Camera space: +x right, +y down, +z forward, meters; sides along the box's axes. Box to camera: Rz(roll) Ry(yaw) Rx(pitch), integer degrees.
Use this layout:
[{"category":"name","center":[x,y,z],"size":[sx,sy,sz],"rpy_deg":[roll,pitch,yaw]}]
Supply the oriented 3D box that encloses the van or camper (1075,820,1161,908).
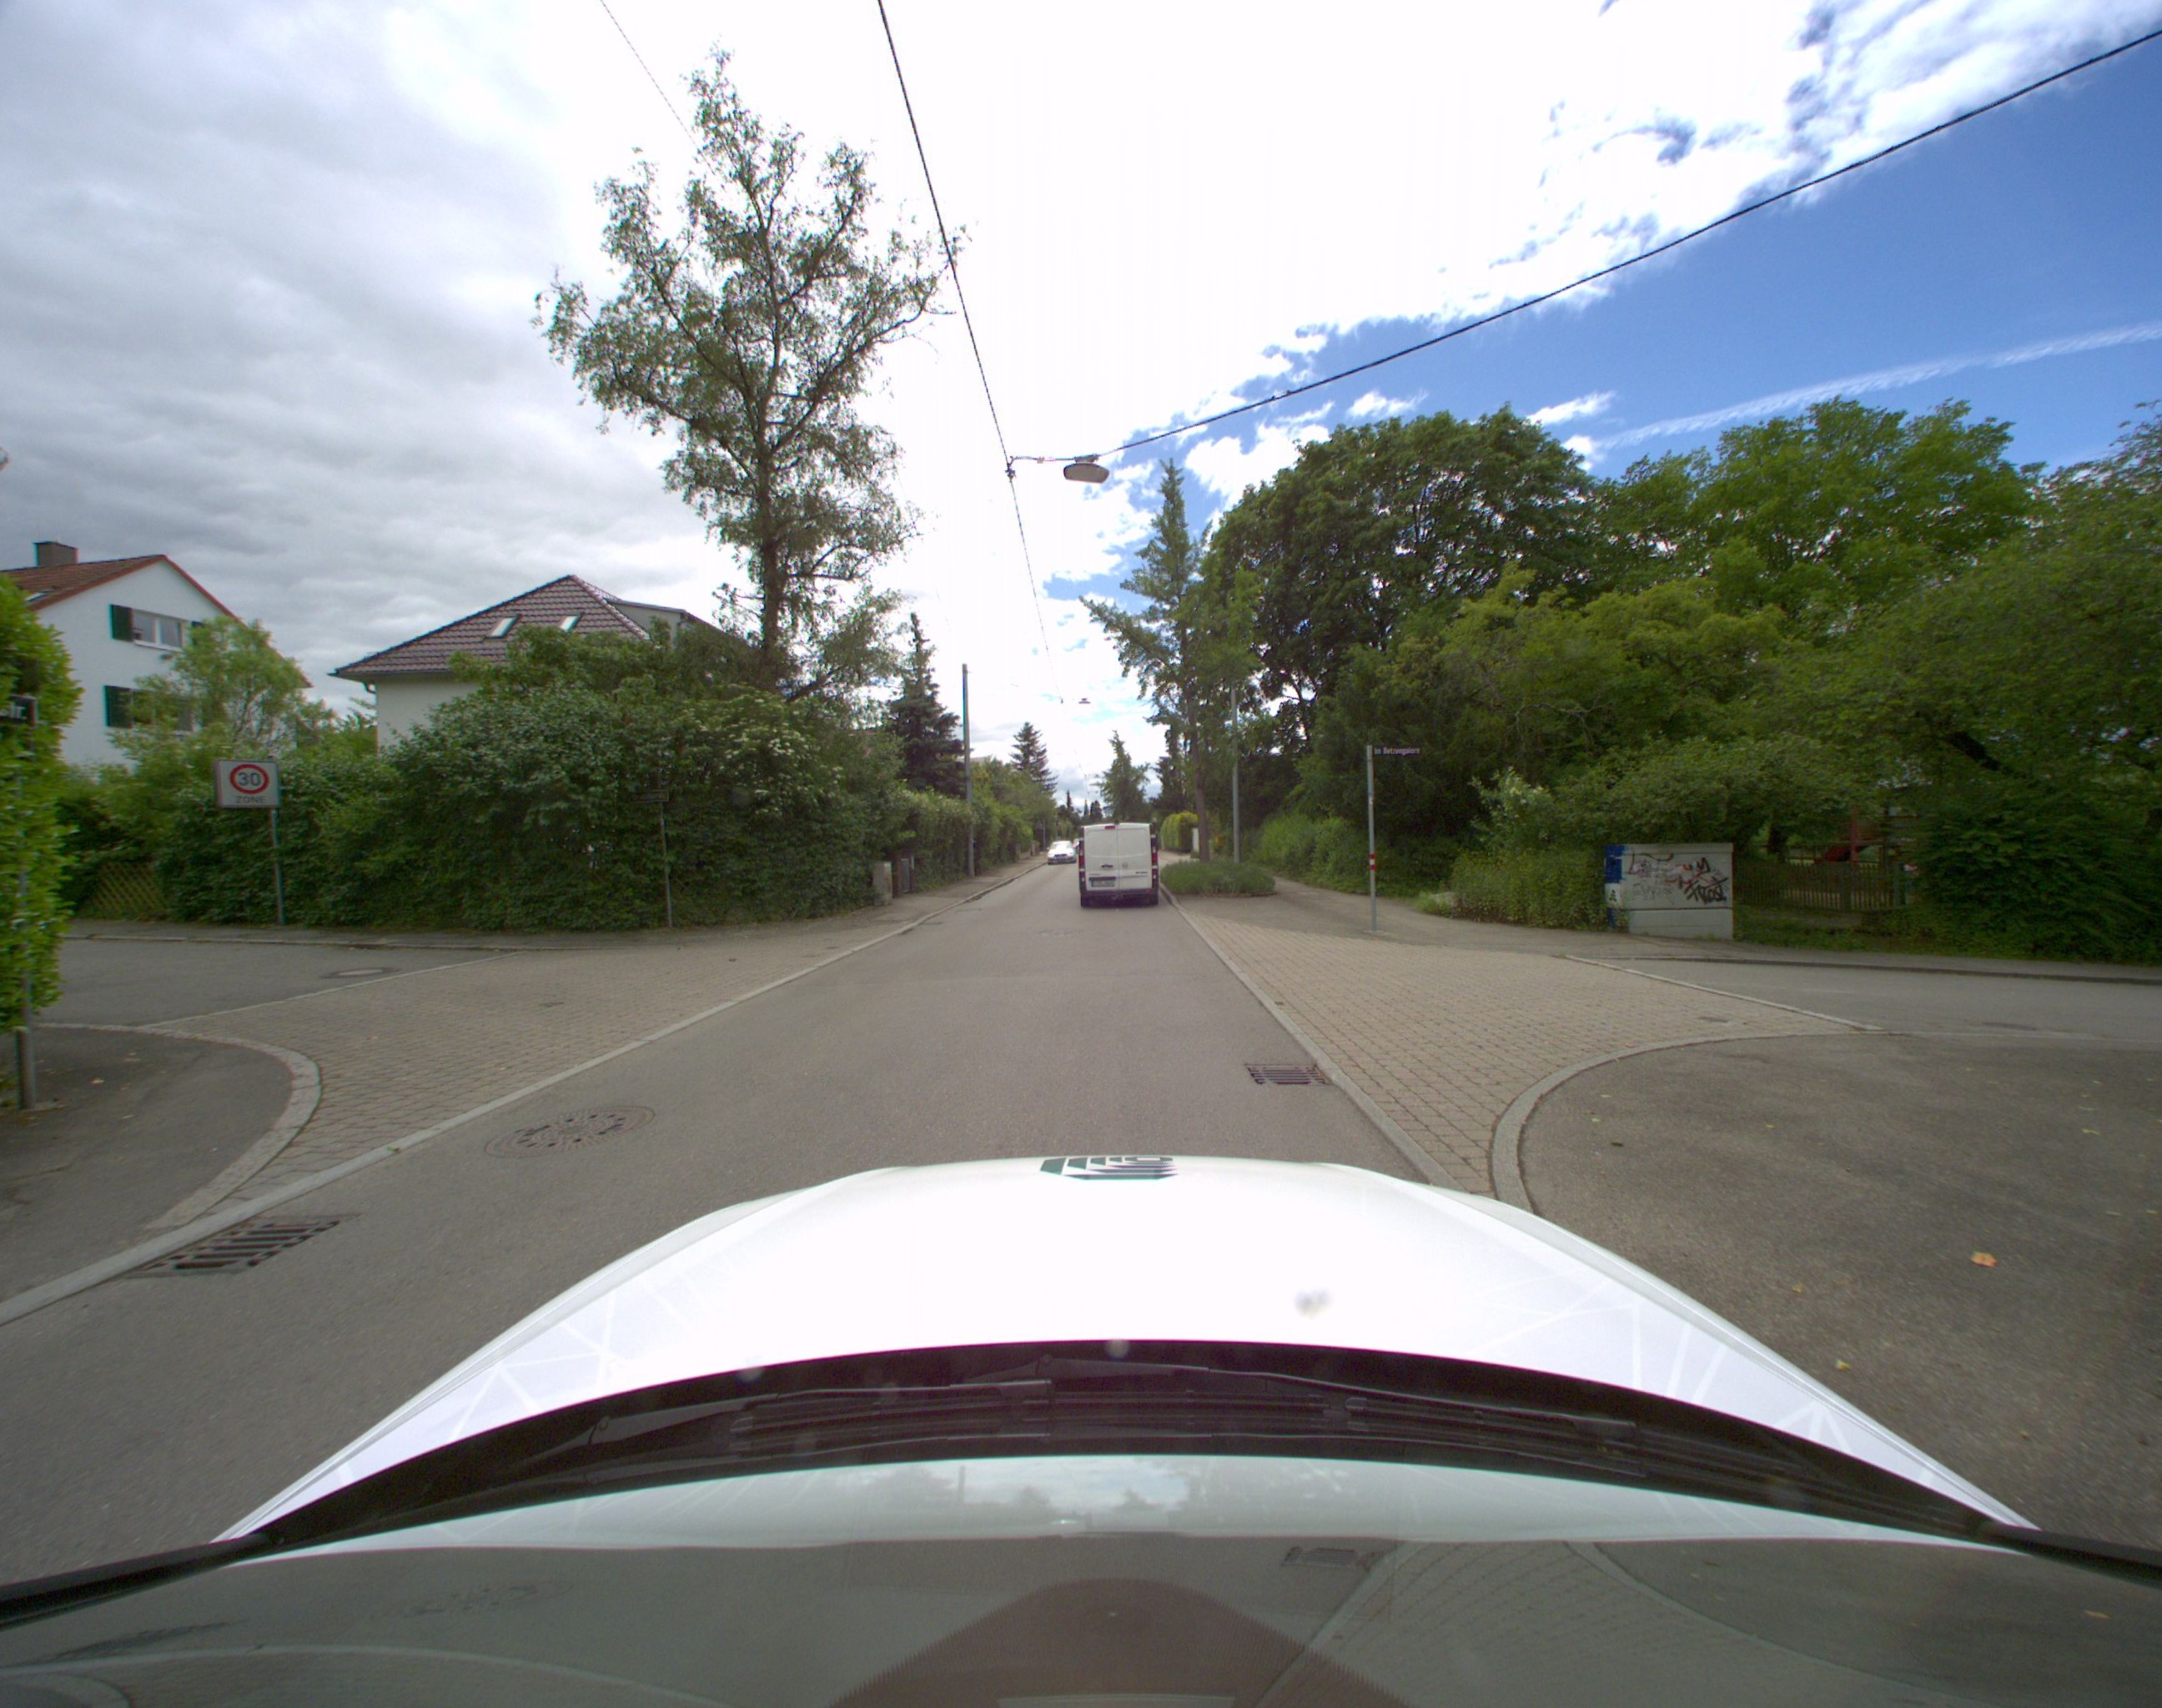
[{"category":"van or camper","center":[0.871,0.228,20.671],"size":[1.932,1.954,4.766],"rpy_deg":[0,0,1]}]

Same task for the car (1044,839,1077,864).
[{"category":"car","center":[-1.301,-0.186,53.103],"size":[1.798,1.431,4.303],"rpy_deg":[-4,1,2]}]

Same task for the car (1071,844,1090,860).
[{"category":"car","center":[0.005,-0.255,83.799],"size":[1.799,1.431,4.119],"rpy_deg":[-4,1,0]}]

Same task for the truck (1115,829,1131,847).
[{"category":"truck","center":[6.209,-2.360,120.940],"size":[2.179,2.471,7.433],"rpy_deg":[0,1,1]}]

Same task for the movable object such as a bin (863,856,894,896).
[{"category":"movable object such as a bin","center":[-5.808,0.624,23.402],"size":[0.726,1.116,0.585],"rpy_deg":[2,1,-2]}]
